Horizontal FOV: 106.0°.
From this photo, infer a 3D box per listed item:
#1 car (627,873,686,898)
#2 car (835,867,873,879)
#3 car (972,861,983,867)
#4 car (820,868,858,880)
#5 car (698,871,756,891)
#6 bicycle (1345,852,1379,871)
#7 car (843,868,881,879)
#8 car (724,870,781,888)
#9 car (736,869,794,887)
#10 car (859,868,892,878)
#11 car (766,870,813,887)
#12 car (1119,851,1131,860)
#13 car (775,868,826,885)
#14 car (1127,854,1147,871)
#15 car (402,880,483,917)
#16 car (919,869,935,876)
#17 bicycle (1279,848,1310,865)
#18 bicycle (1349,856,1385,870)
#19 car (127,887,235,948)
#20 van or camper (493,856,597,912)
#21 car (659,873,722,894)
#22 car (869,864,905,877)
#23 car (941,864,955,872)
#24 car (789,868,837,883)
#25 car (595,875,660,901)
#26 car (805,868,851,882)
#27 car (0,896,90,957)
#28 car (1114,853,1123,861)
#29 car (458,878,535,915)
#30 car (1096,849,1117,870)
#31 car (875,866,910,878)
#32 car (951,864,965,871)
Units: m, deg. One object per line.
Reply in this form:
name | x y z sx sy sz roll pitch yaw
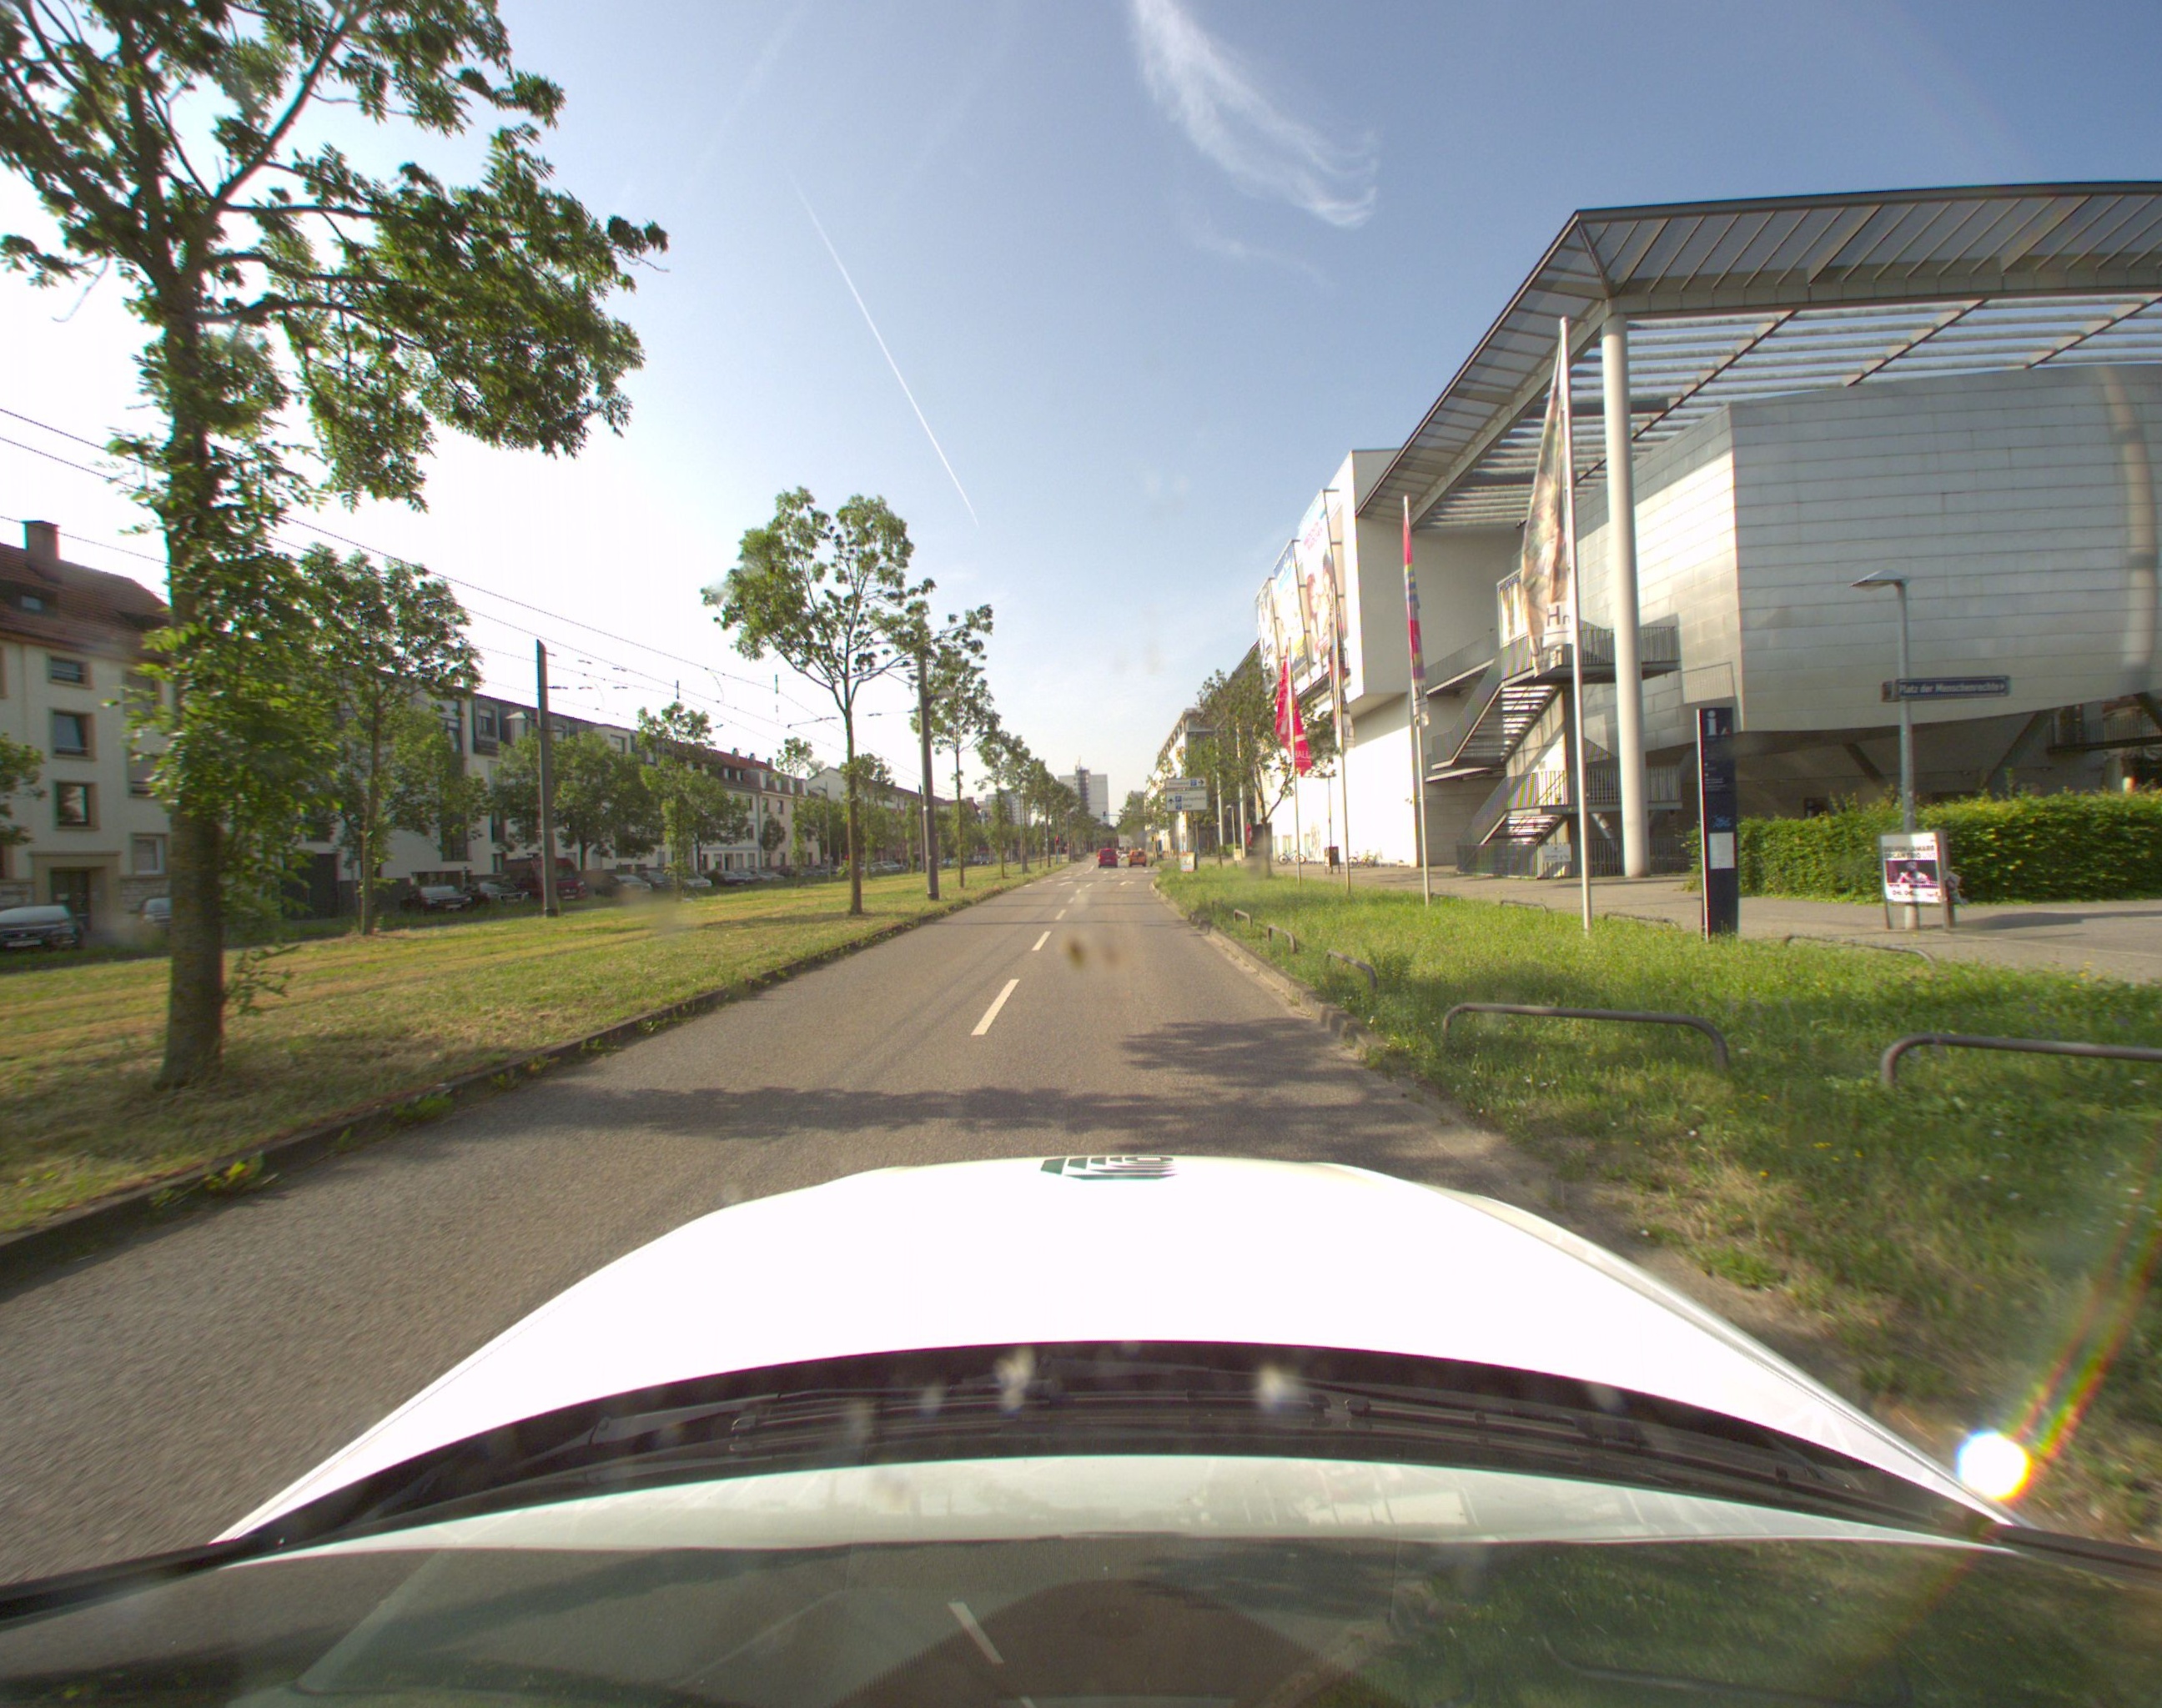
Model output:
car | -25.791 1.890 49.444 3.673 1.434 1.652 -1 -1 34
car | -24.903 2.117 89.141 3.948 1.258 1.888 -1 -1 34
car | -24.158 2.300 190.504 1.974 1.513 4.281 -1 -1 1
car | -25.301 2.068 85.209 3.948 1.235 1.710 -1 -1 34
car | -26.163 1.987 60.152 3.949 1.376 1.847 -1 -1 28
bicycle | 14.833 0.377 43.002 1.651 0.915 0.483 -2 0 1
car | -24.715 2.211 91.763 3.948 1.269 1.898 -1 -1 31
car | -25.145 1.907 62.352 3.949 1.376 1.939 -1 -1 28
car | -25.763 1.953 66.422 4.285 1.376 2.012 -1 -1 27
car | -25.013 2.295 99.149 3.949 1.178 2.012 -1 -1 42
car | -24.618 2.035 68.783 3.733 1.376 1.674 -1 -1 27
car | 7.369 0.270 136.877 1.714 1.519 3.781 -3 0 0
car | -25.026 2.012 72.638 3.950 1.288 2.012 -2 0 27
car | 5.729 0.864 83.299 1.868 1.696 3.975 -2 0 2
car | -27.864 1.920 35.498 4.100 1.510 1.880 -2 -3 40
car | -25.564 3.024 135.418 1.827 1.148 4.165 -1 -1 1
bicycle | 15.066 0.196 57.617 1.998 1.102 0.676 -3 -1 5
bicycle | 14.834 0.453 42.252 1.651 0.645 0.538 -3 0 1
car | -26.546 1.791 24.002 4.294 1.530 2.012 -1 -1 41
van or camper | -26.841 1.497 40.704 6.082 2.547 2.430 -2 -1 38
car | -25.491 1.908 53.081 4.342 1.320 1.745 -1 -1 34
car | -24.212 2.055 101.606 4.407 1.514 2.013 -2 0 38
car | -25.246 2.679 154.624 1.974 1.556 4.537 -1 -1 1
car | -25.033 2.003 76.116 3.950 1.288 2.012 -1 -1 27
car | -26.220 1.939 47.012 3.948 1.420 1.793 -1 -1 36
car | -24.441 2.065 78.720 4.008 1.288 2.012 -1 -1 28
car | -27.115 1.821 21.094 3.728 1.343 1.784 -1 -1 39
car | 7.470 0.631 163.065 1.683 1.526 3.852 -4 0 2
car | -27.028 1.926 37.629 4.100 1.616 1.880 -2 -3 40
car | 2.452 0.538 79.935 1.868 1.853 4.000 -2 0 0
car | -24.398 2.292 105.233 4.296 1.463 1.976 -1 -1 34
car | -24.800 2.757 164.340 1.974 1.360 4.069 -1 -1 1
